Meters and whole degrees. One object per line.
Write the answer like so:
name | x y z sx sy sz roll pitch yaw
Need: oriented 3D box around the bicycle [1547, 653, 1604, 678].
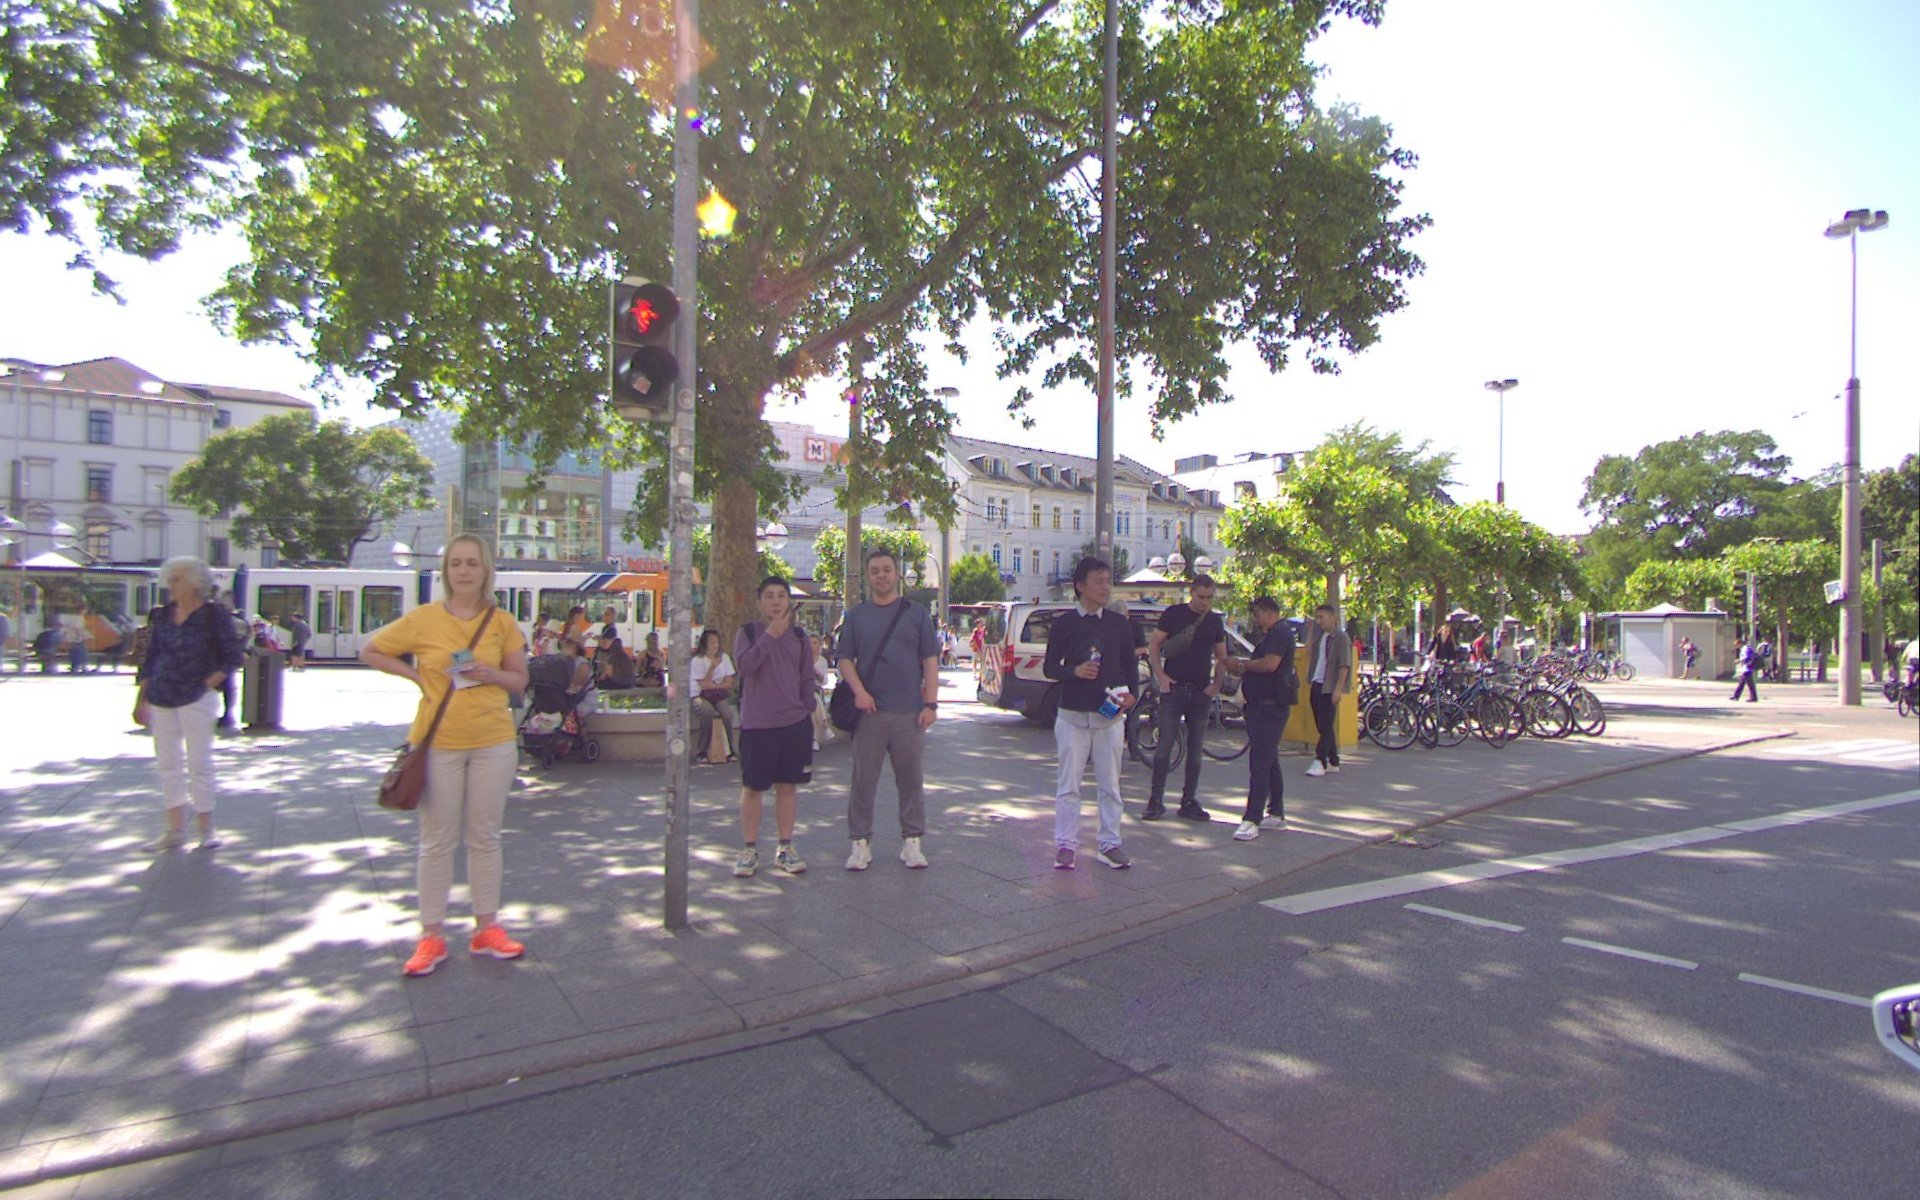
bicycle | 24.363 2.576 39.766 0.543 0.867 1.846 2 0 -43

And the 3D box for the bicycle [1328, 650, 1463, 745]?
bicycle | 5.988 1.308 13.891 0.477 1.162 1.743 2 -1 -32

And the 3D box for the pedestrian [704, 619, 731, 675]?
pedestrian | -6.857 1.328 28.460 0.567 1.569 0.681 -1 -3 3

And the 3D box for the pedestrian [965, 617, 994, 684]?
pedestrian | 0.526 1.387 27.498 0.668 1.800 0.577 -1 -3 -10

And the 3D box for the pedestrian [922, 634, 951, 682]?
pedestrian | -0.614 1.501 25.975 0.523 1.218 0.538 2 -4 -43

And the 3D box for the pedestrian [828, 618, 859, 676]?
pedestrian | -3.231 1.303 27.845 0.649 1.569 0.569 0 -3 -29

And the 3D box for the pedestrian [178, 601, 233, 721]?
pedestrian | -10.040 0.800 13.385 0.450 1.546 0.489 2 0 -24

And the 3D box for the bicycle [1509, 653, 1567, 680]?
bicycle | 22.282 2.541 38.745 0.579 0.883 1.846 2 0 -43

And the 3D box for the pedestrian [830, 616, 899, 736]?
pedestrian | -1.231 0.968 13.048 0.770 1.480 0.580 2 0 2

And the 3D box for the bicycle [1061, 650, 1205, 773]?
bicycle | 1.823 1.152 10.832 0.477 1.162 1.743 2 -1 -32

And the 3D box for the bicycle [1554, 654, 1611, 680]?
bicycle | 24.844 2.654 40.105 0.578 0.881 1.846 2 0 -43

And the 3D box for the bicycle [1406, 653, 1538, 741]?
bicycle | 7.539 1.401 14.871 0.477 1.162 1.743 2 -1 -32

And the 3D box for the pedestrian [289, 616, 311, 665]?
pedestrian | -20.360 1.238 30.977 0.450 1.492 0.552 2 0 -24

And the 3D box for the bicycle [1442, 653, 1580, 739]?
bicycle | 8.407 1.435 15.407 0.477 1.162 1.850 2 -1 -32

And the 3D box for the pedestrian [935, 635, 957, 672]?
pedestrian | -0.556 2.182 40.832 0.671 1.484 0.621 0 -3 -26

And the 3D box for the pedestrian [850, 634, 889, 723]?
pedestrian | -1.293 1.110 14.421 0.450 1.222 0.502 2 0 2

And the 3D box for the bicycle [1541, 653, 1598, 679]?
bicycle | 23.902 2.576 39.414 0.543 0.867 1.846 2 0 -43

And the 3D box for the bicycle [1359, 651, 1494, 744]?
bicycle | 6.508 1.328 14.101 0.477 1.162 1.743 2 -1 -32

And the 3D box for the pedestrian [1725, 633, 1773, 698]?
pedestrian | 20.946 1.727 26.660 0.675 1.680 0.884 2 -2 -40

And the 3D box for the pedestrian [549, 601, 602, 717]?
pedestrian | -5.698 0.860 14.884 0.551 1.666 0.523 1 1 -41

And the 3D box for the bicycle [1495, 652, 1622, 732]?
bicycle | 9.656 1.456 16.273 0.477 1.162 1.743 2 -1 -32

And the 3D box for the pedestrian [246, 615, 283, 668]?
pedestrian | -19.991 1.198 28.869 0.747 1.492 0.552 2 0 -24

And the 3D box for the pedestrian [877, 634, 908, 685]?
pedestrian | -1.700 1.500 25.326 0.550 1.250 0.571 2 -4 -43

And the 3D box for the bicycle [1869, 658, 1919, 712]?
bicycle | 20.873 1.845 22.018 1.851 1.135 0.814 2 -4 -29

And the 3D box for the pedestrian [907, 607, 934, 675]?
pedestrian | -1.103 1.142 27.979 0.668 1.865 0.577 -1 -3 -10

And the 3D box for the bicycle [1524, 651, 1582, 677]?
bicycle | 22.888 2.461 38.791 0.543 0.867 1.846 2 0 -43

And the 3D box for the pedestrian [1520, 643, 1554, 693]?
pedestrian | 14.549 1.707 25.332 0.543 1.250 0.579 1 -1 3

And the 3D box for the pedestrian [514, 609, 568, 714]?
pedestrian | -6.455 0.932 15.469 0.603 1.546 0.542 1 1 -41

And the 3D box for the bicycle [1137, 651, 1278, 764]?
bicycle | 2.851 1.204 11.731 0.477 1.162 1.743 2 -1 -32

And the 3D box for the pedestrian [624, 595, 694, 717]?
pedestrian | -4.554 0.823 15.187 0.777 1.770 0.660 1 1 -41

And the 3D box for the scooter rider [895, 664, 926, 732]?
scooter rider | -0.653 1.294 13.387 0.342 0.850 0.507 2 0 2

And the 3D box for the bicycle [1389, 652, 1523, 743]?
bicycle | 7.120 1.372 14.508 0.477 1.162 1.743 2 -1 -32

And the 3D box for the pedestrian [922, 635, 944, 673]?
pedestrian | -1.098 2.165 40.308 0.671 1.484 0.621 0 -3 -26

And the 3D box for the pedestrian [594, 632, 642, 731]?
pedestrian | -4.886 1.152 14.353 0.488 1.355 0.430 1 1 -41

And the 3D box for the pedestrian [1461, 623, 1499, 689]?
pedestrian | 14.263 1.540 27.576 0.667 1.768 0.625 -1 -3 3

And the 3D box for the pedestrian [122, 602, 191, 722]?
pedestrian | -10.217 0.778 12.786 0.547 1.492 0.453 2 0 -23

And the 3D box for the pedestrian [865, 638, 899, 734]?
pedestrian | -1.003 1.105 13.030 0.342 1.188 0.507 2 0 2

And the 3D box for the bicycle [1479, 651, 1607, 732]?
bicycle | 9.250 1.424 15.999 0.477 1.162 1.743 2 -1 -32

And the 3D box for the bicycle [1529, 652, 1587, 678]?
bicycle | 23.275 2.531 39.090 0.543 0.867 1.846 2 0 -43

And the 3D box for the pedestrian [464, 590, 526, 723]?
pedestrian | -6.411 0.759 13.846 0.609 1.770 0.531 1 1 -41

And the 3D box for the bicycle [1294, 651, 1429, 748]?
bicycle | 5.360 1.292 13.514 0.477 1.162 1.743 2 -1 -32

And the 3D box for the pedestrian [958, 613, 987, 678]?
pedestrian | 0.354 1.301 28.667 0.571 1.800 0.676 0 -3 -28

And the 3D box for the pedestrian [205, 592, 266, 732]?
pedestrian | -9.304 0.784 12.913 0.485 1.750 0.552 2 0 -24

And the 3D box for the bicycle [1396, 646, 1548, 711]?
bicycle | 9.940 1.485 19.627 0.822 1.036 2.604 2 0 -30

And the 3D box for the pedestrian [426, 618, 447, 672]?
pedestrian | -14.807 1.278 28.441 0.450 1.492 0.552 2 0 -24

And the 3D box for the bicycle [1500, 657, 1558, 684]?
bicycle | 21.748 2.674 38.404 0.543 0.867 1.846 2 0 -43

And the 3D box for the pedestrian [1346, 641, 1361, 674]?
pedestrian | 18.303 2.677 46.726 0.667 1.485 0.625 0 -1 21

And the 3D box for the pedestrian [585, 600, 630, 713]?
pedestrian | -5.425 0.850 15.462 0.468 1.690 0.497 1 1 -41

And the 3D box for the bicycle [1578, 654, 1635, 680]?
bicycle | 25.963 2.692 40.366 0.578 0.881 1.846 2 0 -43

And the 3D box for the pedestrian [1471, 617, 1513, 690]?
pedestrian | 15.078 1.516 28.482 0.877 2.033 0.681 -1 -3 15

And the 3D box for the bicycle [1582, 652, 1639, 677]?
bicycle | 26.378 2.600 40.774 0.578 0.881 1.846 2 0 -43
